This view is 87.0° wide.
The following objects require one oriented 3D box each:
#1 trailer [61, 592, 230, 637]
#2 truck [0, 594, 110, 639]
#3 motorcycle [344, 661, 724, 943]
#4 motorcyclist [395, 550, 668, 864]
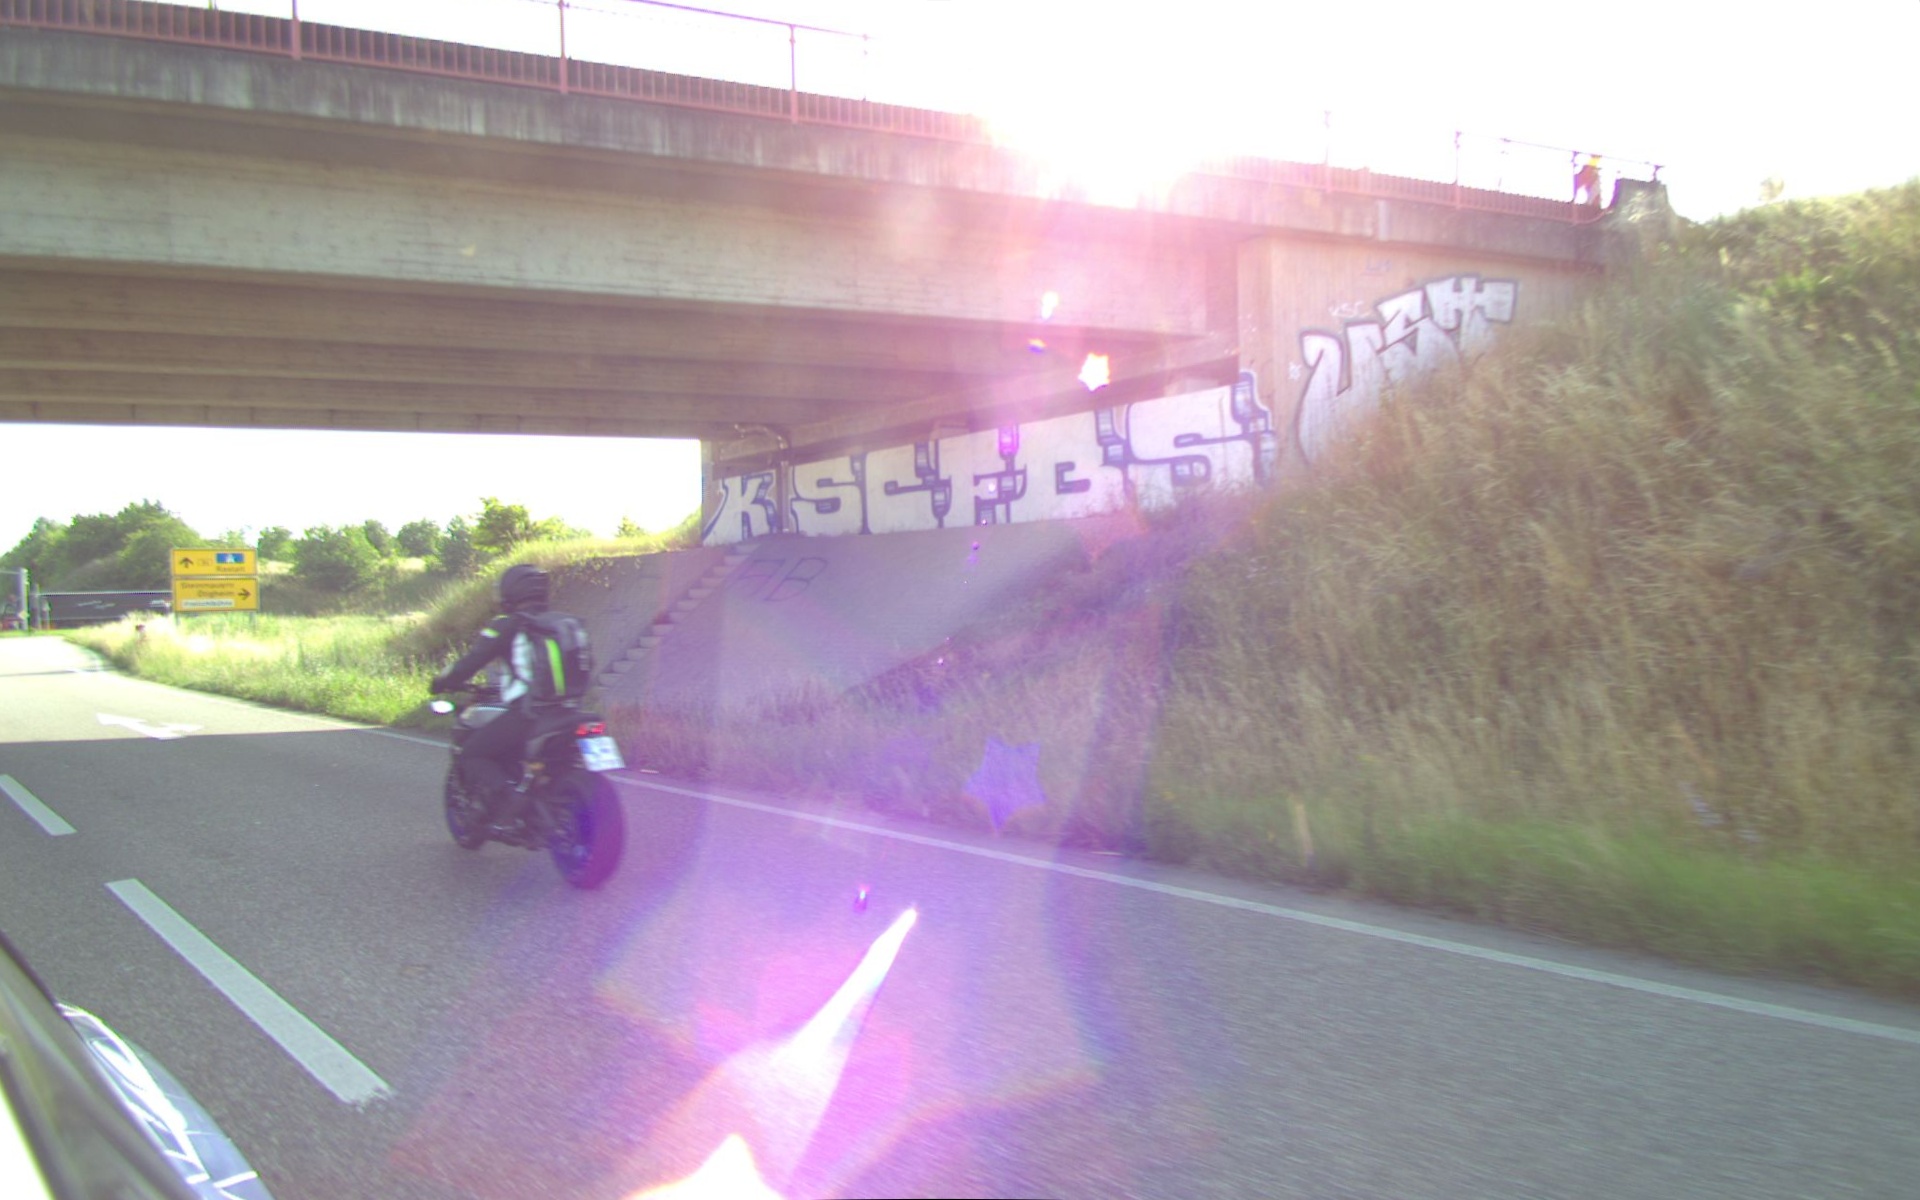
[{"bbox_3d":[-85.214,1.401,106.424,13.578,4.144,3.566,-2,1,-38],"label":"trailer"},{"bbox_3d":[-91.118,1.606,101.869,8.266,4.144,3.566,-2,1,-38],"label":"truck"},{"bbox_3d":[-2.357,0.941,5.472,2.130,1.126,1.031,-1,-1,39],"label":"motorcycle"},{"bbox_3d":[-2.326,0.509,5.469,1.282,1.462,0.870,-1,-1,39],"label":"motorcyclist"}]
